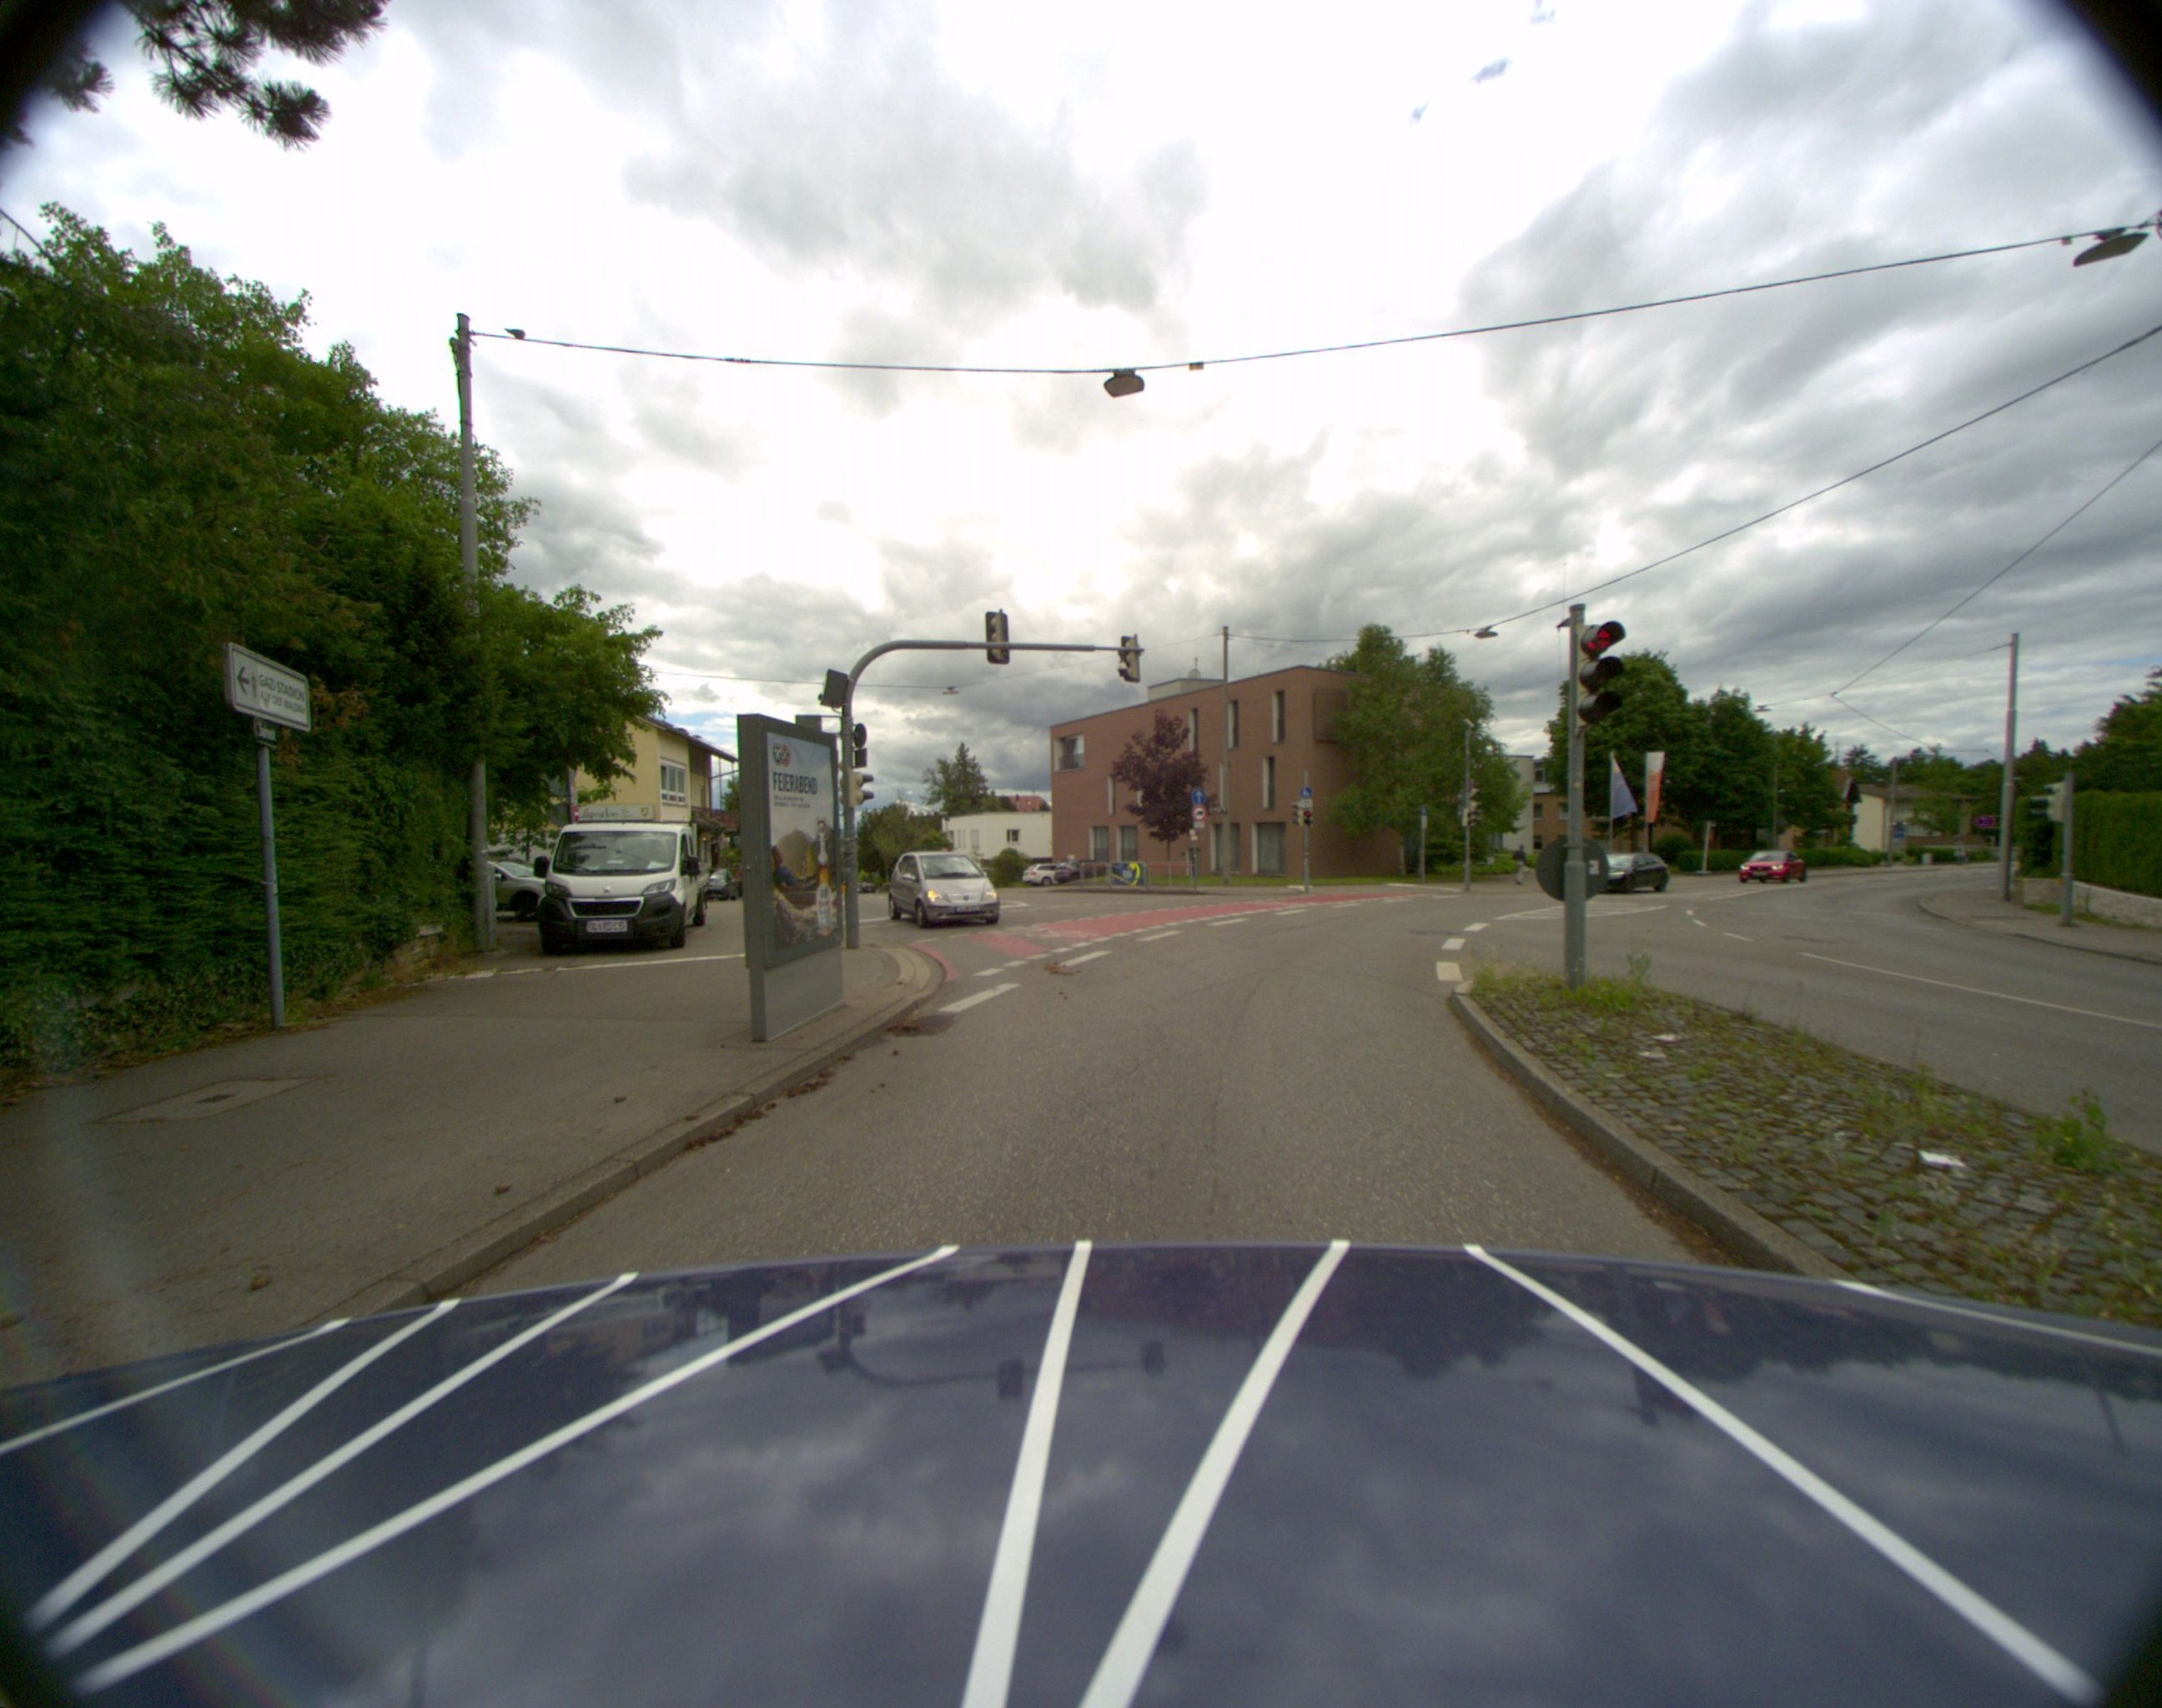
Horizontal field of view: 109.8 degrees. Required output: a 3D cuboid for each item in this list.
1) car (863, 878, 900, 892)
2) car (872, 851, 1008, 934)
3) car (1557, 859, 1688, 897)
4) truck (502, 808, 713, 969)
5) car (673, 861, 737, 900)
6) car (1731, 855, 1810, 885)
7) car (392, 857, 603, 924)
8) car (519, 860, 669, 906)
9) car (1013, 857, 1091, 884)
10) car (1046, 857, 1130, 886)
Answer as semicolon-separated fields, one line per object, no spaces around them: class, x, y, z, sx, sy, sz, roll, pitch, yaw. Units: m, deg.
car;-26.336;4.084;100.420;4.442;1.549;1.996;-1;0;-25
car;-3.316;0.782;17.195;2.002;1.586;3.992;-2;0;-26
car;19.423;0.826;27.274;4.004;1.237;1.996;-1;1;-22
truck;-8.476;0.429;14.344;2.407;2.338;6.175;-1;1;-23
car;-16.061;1.170;32.615;1.877;1.483;3.878;-2;-2;-18
car;32.543;0.712;35.852;4.007;1.193;1.994;-2;2;-36
car;-14.956;0.912;19.613;4.063;1.630;1.869;0;1;4
car;-17.893;1.051;28.096;4.228;1.519;1.931;-1;-1;-8
car;-1.826;1.019;47.834;4.442;1.549;1.996;-1;0;-25
car;0.420;0.996;44.020;4.442;1.549;1.996;-1;0;-25
